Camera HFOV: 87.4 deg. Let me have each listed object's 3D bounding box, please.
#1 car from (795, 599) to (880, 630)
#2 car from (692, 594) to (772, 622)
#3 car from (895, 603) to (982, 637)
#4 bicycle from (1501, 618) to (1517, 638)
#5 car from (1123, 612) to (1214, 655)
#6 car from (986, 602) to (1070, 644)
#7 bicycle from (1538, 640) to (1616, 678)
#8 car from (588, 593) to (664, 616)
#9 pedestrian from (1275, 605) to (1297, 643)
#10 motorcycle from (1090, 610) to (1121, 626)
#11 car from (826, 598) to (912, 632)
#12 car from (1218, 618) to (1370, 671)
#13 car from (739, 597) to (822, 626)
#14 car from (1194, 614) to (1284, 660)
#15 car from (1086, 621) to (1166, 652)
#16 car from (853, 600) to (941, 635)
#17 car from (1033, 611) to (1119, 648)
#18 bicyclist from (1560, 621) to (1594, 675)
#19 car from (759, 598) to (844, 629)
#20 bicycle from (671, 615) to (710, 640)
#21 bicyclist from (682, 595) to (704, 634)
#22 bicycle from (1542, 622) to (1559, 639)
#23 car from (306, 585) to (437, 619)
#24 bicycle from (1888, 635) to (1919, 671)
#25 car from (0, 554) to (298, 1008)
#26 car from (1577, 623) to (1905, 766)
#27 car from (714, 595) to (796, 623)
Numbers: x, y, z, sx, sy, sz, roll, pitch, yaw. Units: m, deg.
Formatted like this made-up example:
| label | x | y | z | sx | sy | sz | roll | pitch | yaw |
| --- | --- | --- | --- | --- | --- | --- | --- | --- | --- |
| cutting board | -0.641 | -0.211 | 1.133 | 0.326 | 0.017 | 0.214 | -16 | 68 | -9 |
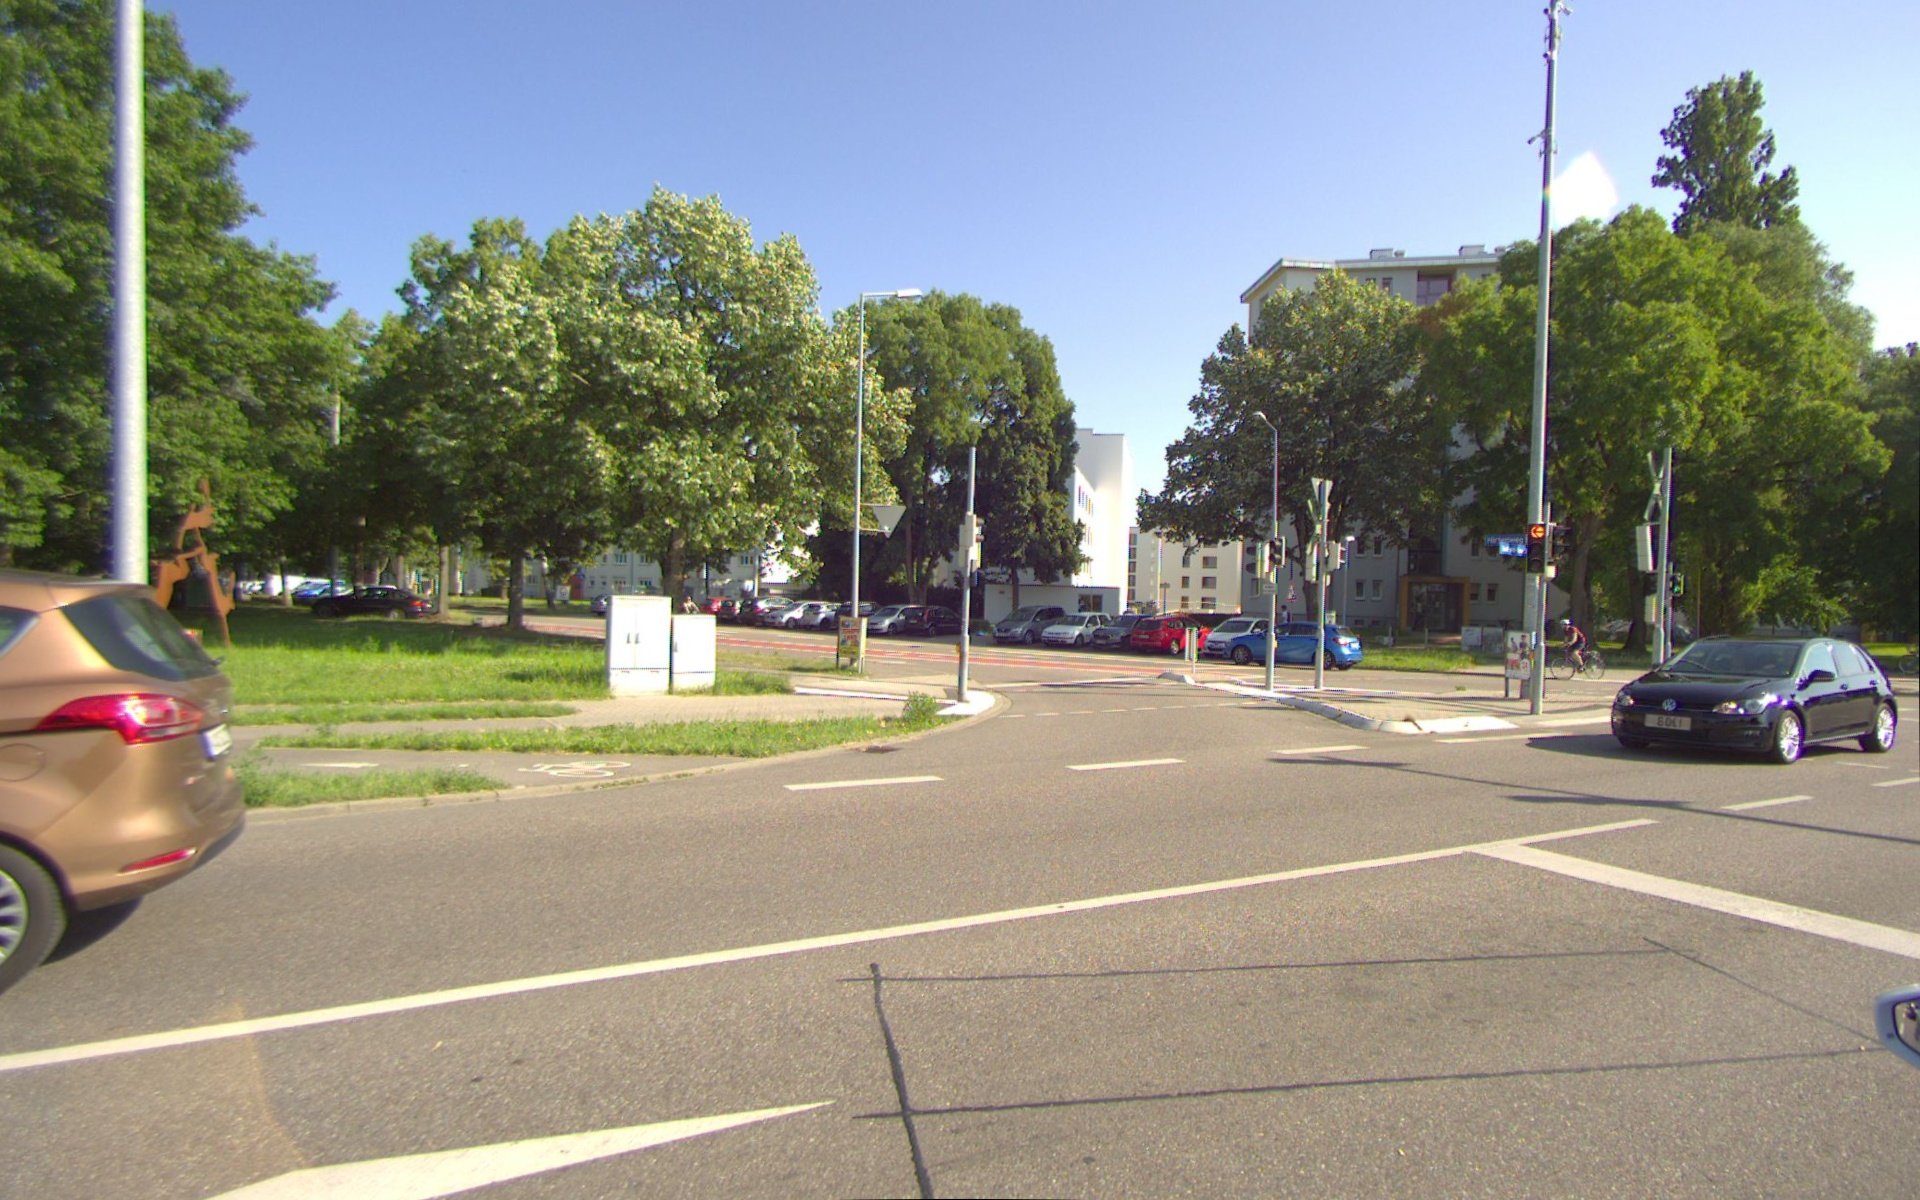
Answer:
| label | x | y | z | sx | sy | sz | roll | pitch | yaw |
| --- | --- | --- | --- | --- | --- | --- | --- | --- | --- |
| car | -6.699 | 0.748 | 55.400 | 1.758 | 1.497 | 4.754 | 2 | 3 | 40 |
| car | -14.125 | 0.464 | 62.378 | 1.758 | 1.497 | 4.790 | 2 | 3 | 40 |
| car | -1.039 | 0.973 | 51.024 | 1.758 | 1.497 | 4.790 | 2 | 3 | 40 |
| bicycle | 31.366 | 1.622 | 57.367 | 0.601 | 1.080 | 1.916 | 3 | -1 | 24 |
| car | 8.555 | 1.327 | 41.063 | 1.761 | 1.435 | 3.974 | 2 | 4 | 45 |
| car | 3.157 | 1.059 | 46.219 | 1.760 | 1.835 | 3.978 | 2 | 0 | 42 |
| bicycle | 18.564 | 1.778 | 30.241 | 2.033 | 1.054 | 0.621 | 2 | 0 | -7 |
| car | -23.418 | 0.317 | 70.468 | 1.761 | 1.497 | 4.784 | 2 | 0 | 44 |
| pedestrian | 15.214 | 1.118 | 46.911 | 0.693 | 1.736 | 0.623 | 1 | 1 | -17 |
| motorcycle | 9.665 | 1.202 | 66.919 | 2.003 | 0.977 | 0.527 | 2 | 0 | 5 |
| car | -4.818 | 0.778 | 53.800 | 1.758 | 1.497 | 4.790 | 2 | 4 | 40 |
| car | 10.412 | 1.341 | 31.477 | 4.182 | 1.433 | 1.776 | 1 | 0 | 41 |
| car | -10.429 | 0.639 | 58.613 | 1.758 | 1.497 | 4.790 | 2 | 3 | 40 |
| car | 10.880 | 1.378 | 39.039 | 1.760 | 1.459 | 3.976 | 2 | 3 | 43 |
| car | 7.062 | 1.530 | 42.450 | 1.445 | 1.209 | 3.764 | 2 | 0 | 44 |
| car | -3.186 | 0.872 | 51.704 | 1.758 | 1.497 | 4.691 | 2 | 4 | 40 |
| car | 5.153 | 1.289 | 44.358 | 1.760 | 1.541 | 3.978 | 2 | 0 | 42 |
| bicyclist | 18.566 | 1.428 | 30.236 | 0.592 | 1.581 | 0.608 | 2 | 0 | -8 |
| car | -8.882 | 0.740 | 56.670 | 1.758 | 1.497 | 4.790 | 2 | 3 | 40 |
| bicycle | -10.946 | 1.101 | 40.753 | 1.783 | 0.915 | 0.651 | 2 | 1 | 42 |
| bicyclist | -10.808 | 0.594 | 40.638 | 0.617 | 1.544 | 0.616 | 2 | 2 | 33 |
| bicycle | 33.274 | 1.710 | 56.609 | 0.658 | 0.932 | 2.404 | 2 | 0 | 26 |
| car | -25.790 | 0.087 | 44.111 | 4.682 | 1.338 | 1.524 | 2 | 0 | -8 |
| bicycle | 31.761 | 1.773 | 32.910 | 0.624 | 1.134 | 1.901 | 1 | 0 | -28 |
| car | -4.890 | 0.611 | 3.652 | 3.951 | 1.582 | 1.738 | 2 | -2 | -29 |
| car | 9.874 | 1.093 | 12.656 | 4.052 | 1.493 | 1.880 | 2 | -1 | -30 |
| car | -12.380 | 0.520 | 60.889 | 1.758 | 1.497 | 4.790 | 2 | 3 | 40 |
